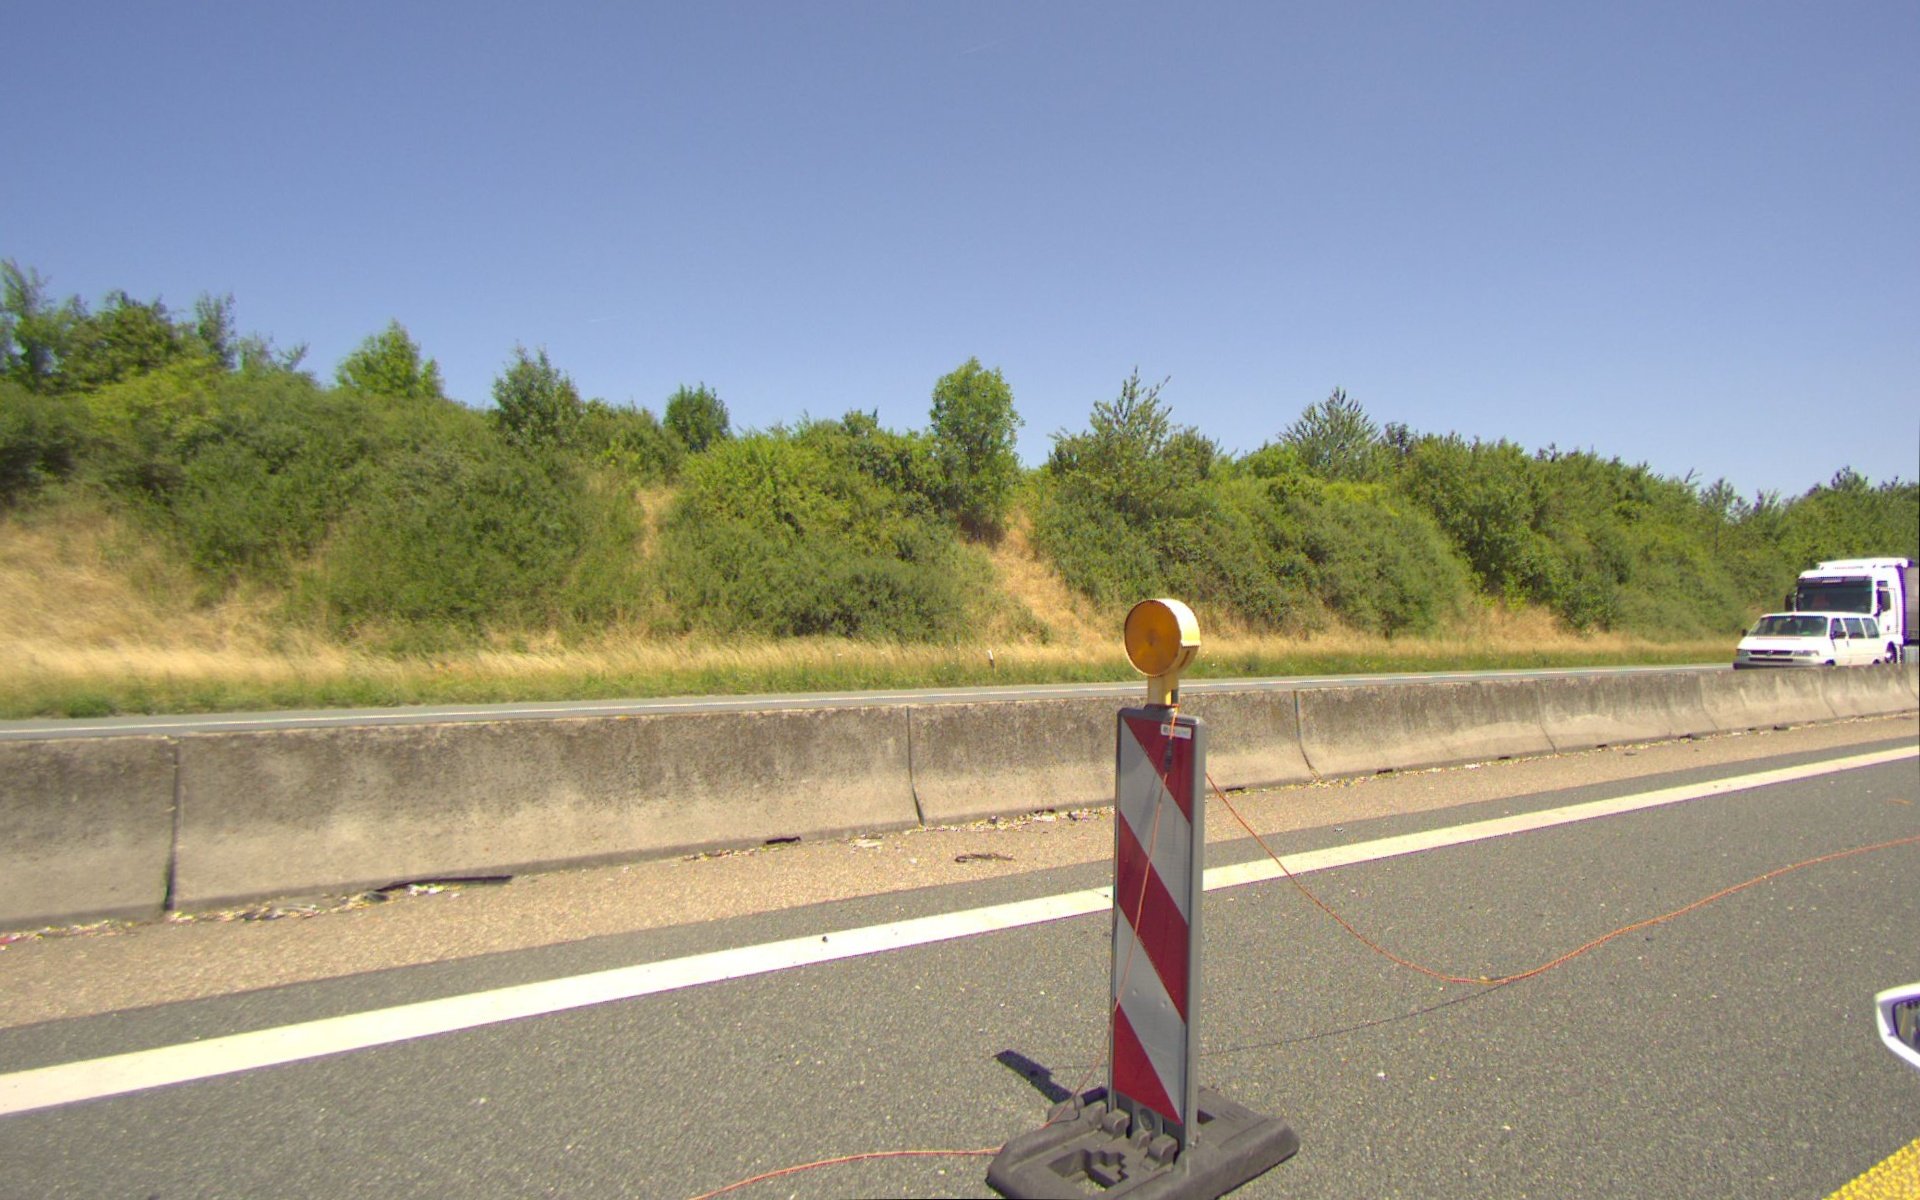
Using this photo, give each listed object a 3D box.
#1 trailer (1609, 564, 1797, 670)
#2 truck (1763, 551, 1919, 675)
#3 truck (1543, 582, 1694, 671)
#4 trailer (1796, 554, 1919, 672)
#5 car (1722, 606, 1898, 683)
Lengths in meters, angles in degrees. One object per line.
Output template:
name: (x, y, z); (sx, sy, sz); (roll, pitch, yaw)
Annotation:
trailer: (33.023, 0.784, 44.386); (11.950, 4.235, 2.467); (1, -1, -32)
truck: (33.882, 0.528, 38.043); (7.331, 4.280, 3.148); (1, -1, -31)
truck: (26.448, 1.064, 40.271); (6.846, 3.331, 2.451); (1, -1, -32)
trailer: (38.999, 0.615, 41.234); (13.531, 4.235, 3.143); (1, -1, -32)
car: (22.123, 1.121, 26.096); (5.392, 1.816, 1.857); (1, -1, -31)
